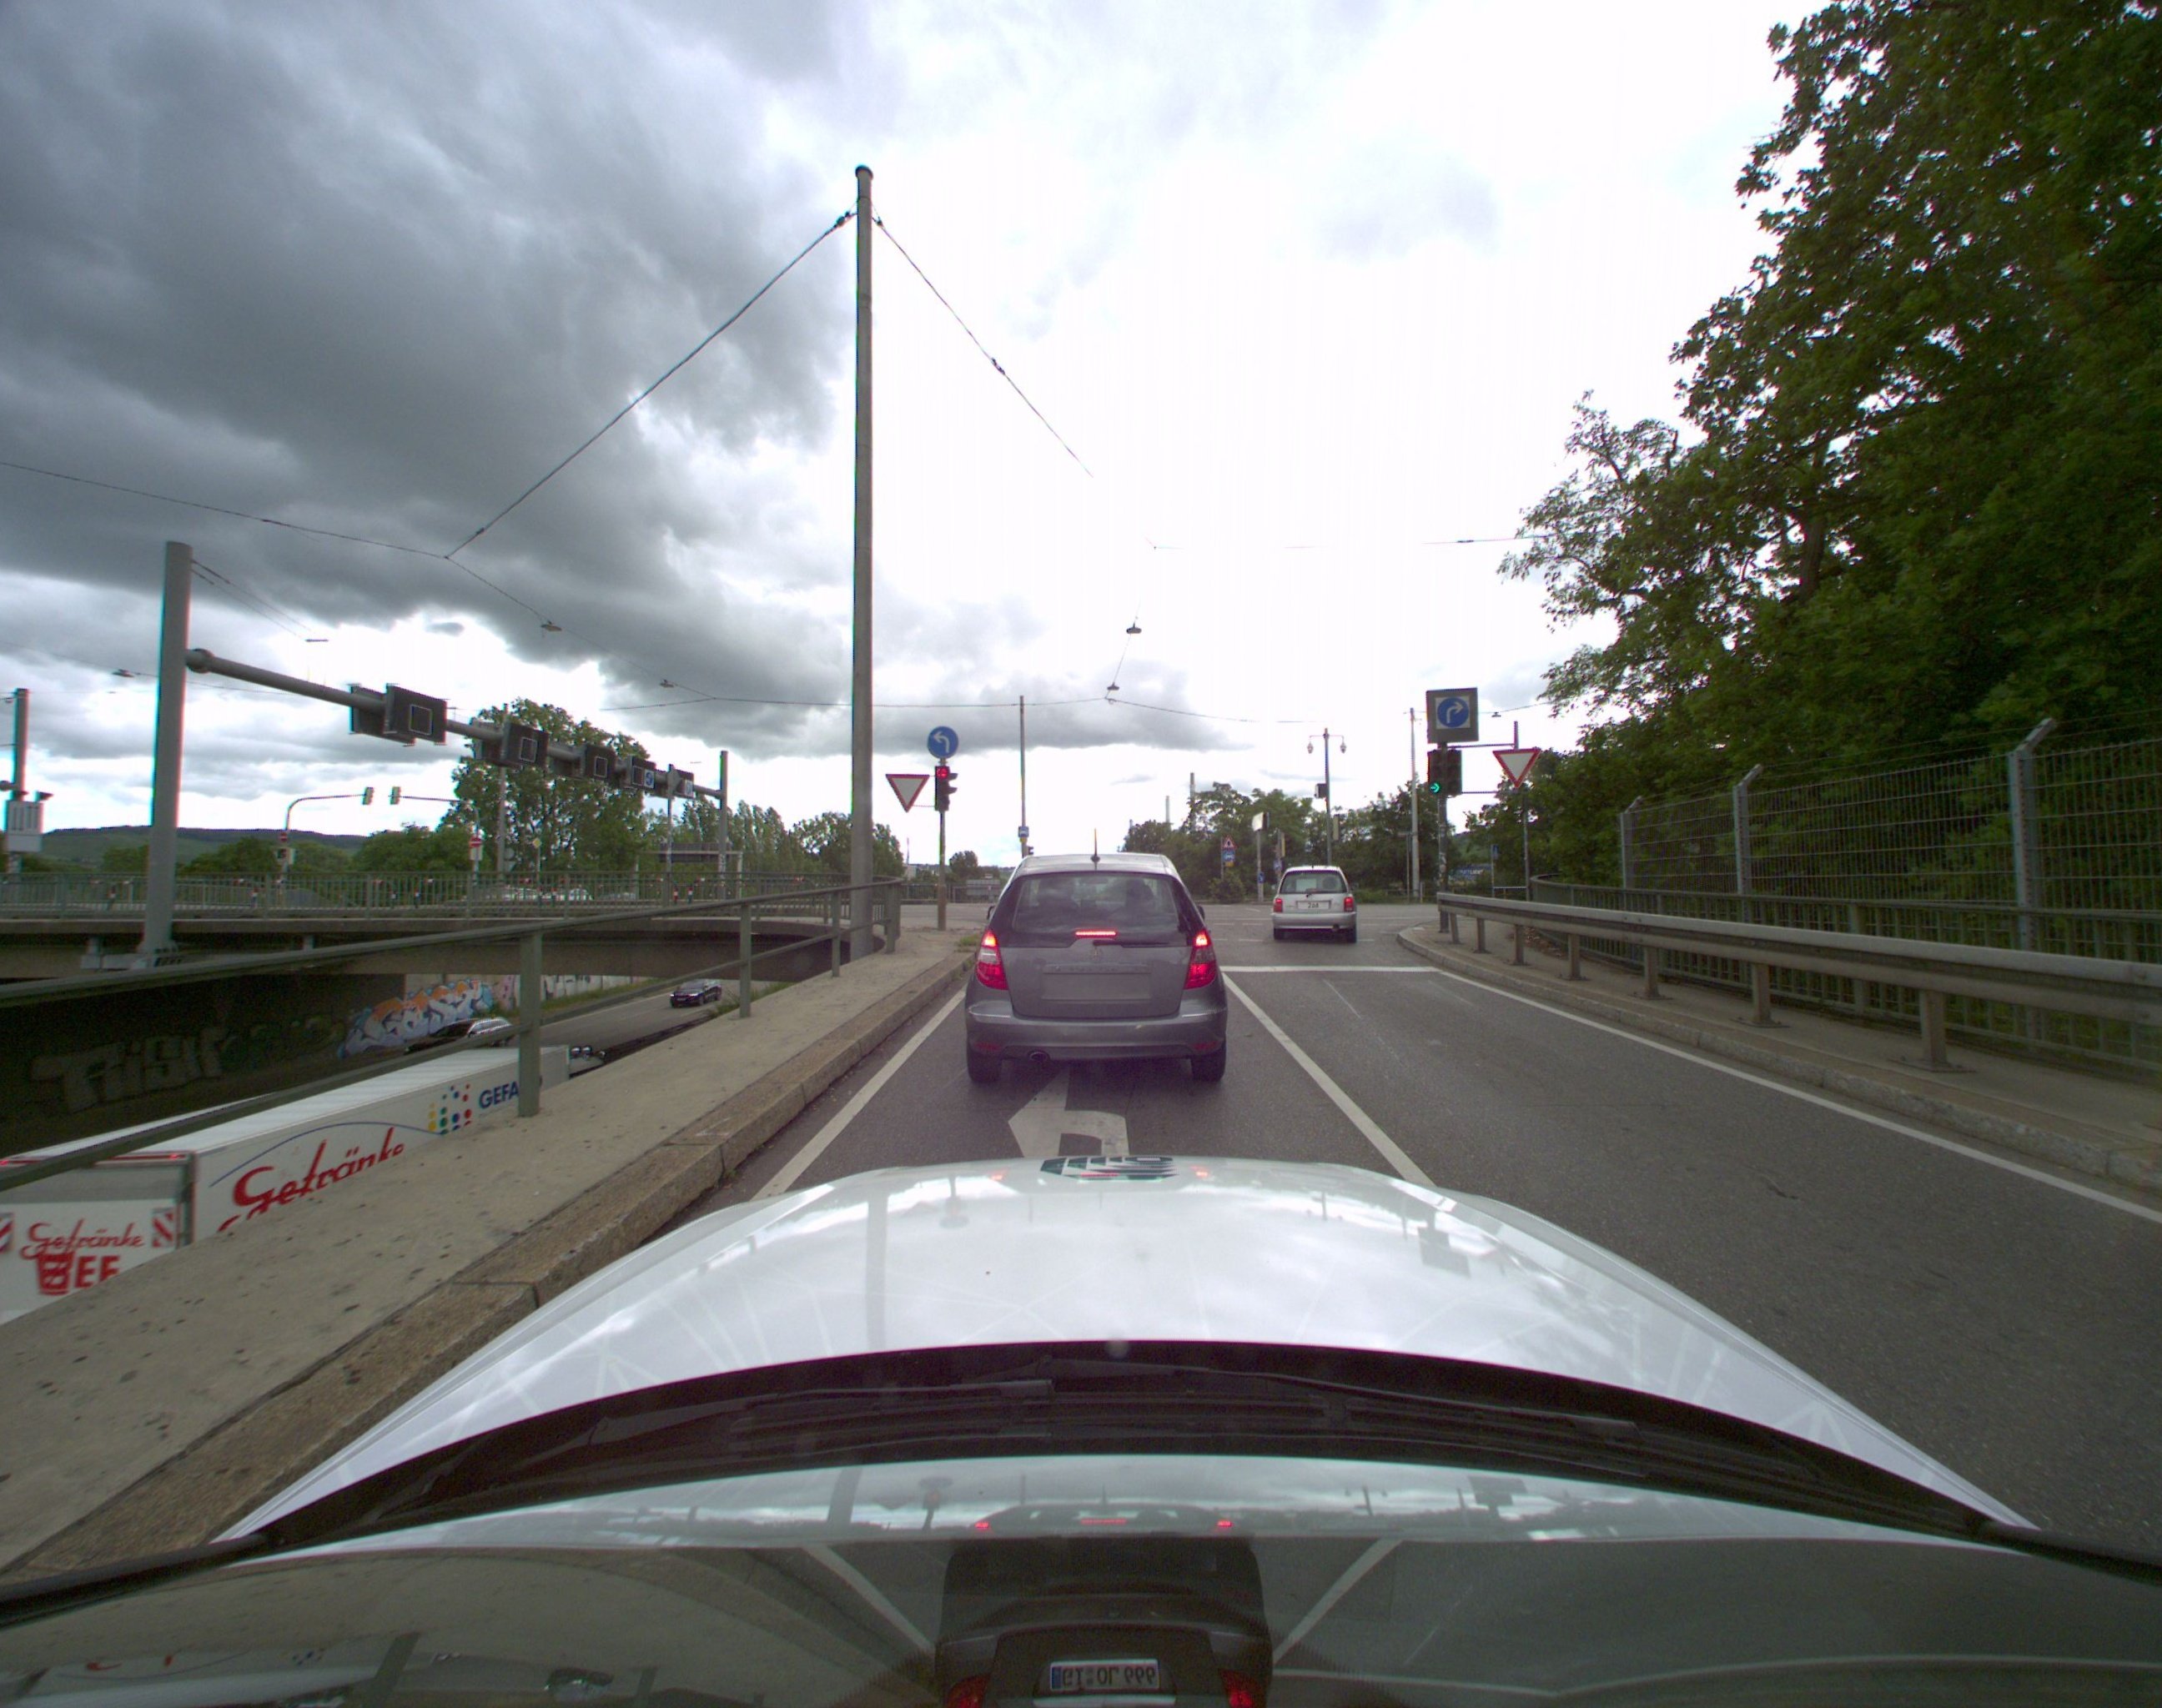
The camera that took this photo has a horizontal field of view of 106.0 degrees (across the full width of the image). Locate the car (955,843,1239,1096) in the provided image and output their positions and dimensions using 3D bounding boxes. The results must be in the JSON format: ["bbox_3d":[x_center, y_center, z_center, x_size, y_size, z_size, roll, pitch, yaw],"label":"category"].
[{"bbox_3d":[0.156,0.726,6.782,1.733,1.543,3.542,0,-1,2],"label":"car"}]

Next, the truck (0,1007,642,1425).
[{"bbox_3d":[-12.373,5.364,14.915,2.871,3.526,9.875,-3,-3,2],"label":"truck"}]

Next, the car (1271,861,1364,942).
[{"bbox_3d":[4.691,0.881,16.485,1.574,1.431,3.455,-1,0,13],"label":"car"}]

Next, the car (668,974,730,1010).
[{"bbox_3d":[-24.570,8.840,52.552,1.875,1.719,4.183,-2,-3,2],"label":"car"}]

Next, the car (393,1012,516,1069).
[{"bbox_3d":[-28.009,8.315,36.646,1.853,1.652,4.634,-2,-3,2],"label":"car"}]

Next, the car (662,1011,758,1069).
[{"bbox_3d":[-15.219,7.625,33.698,1.822,1.579,4.185,-1,-3,3],"label":"car"}]
